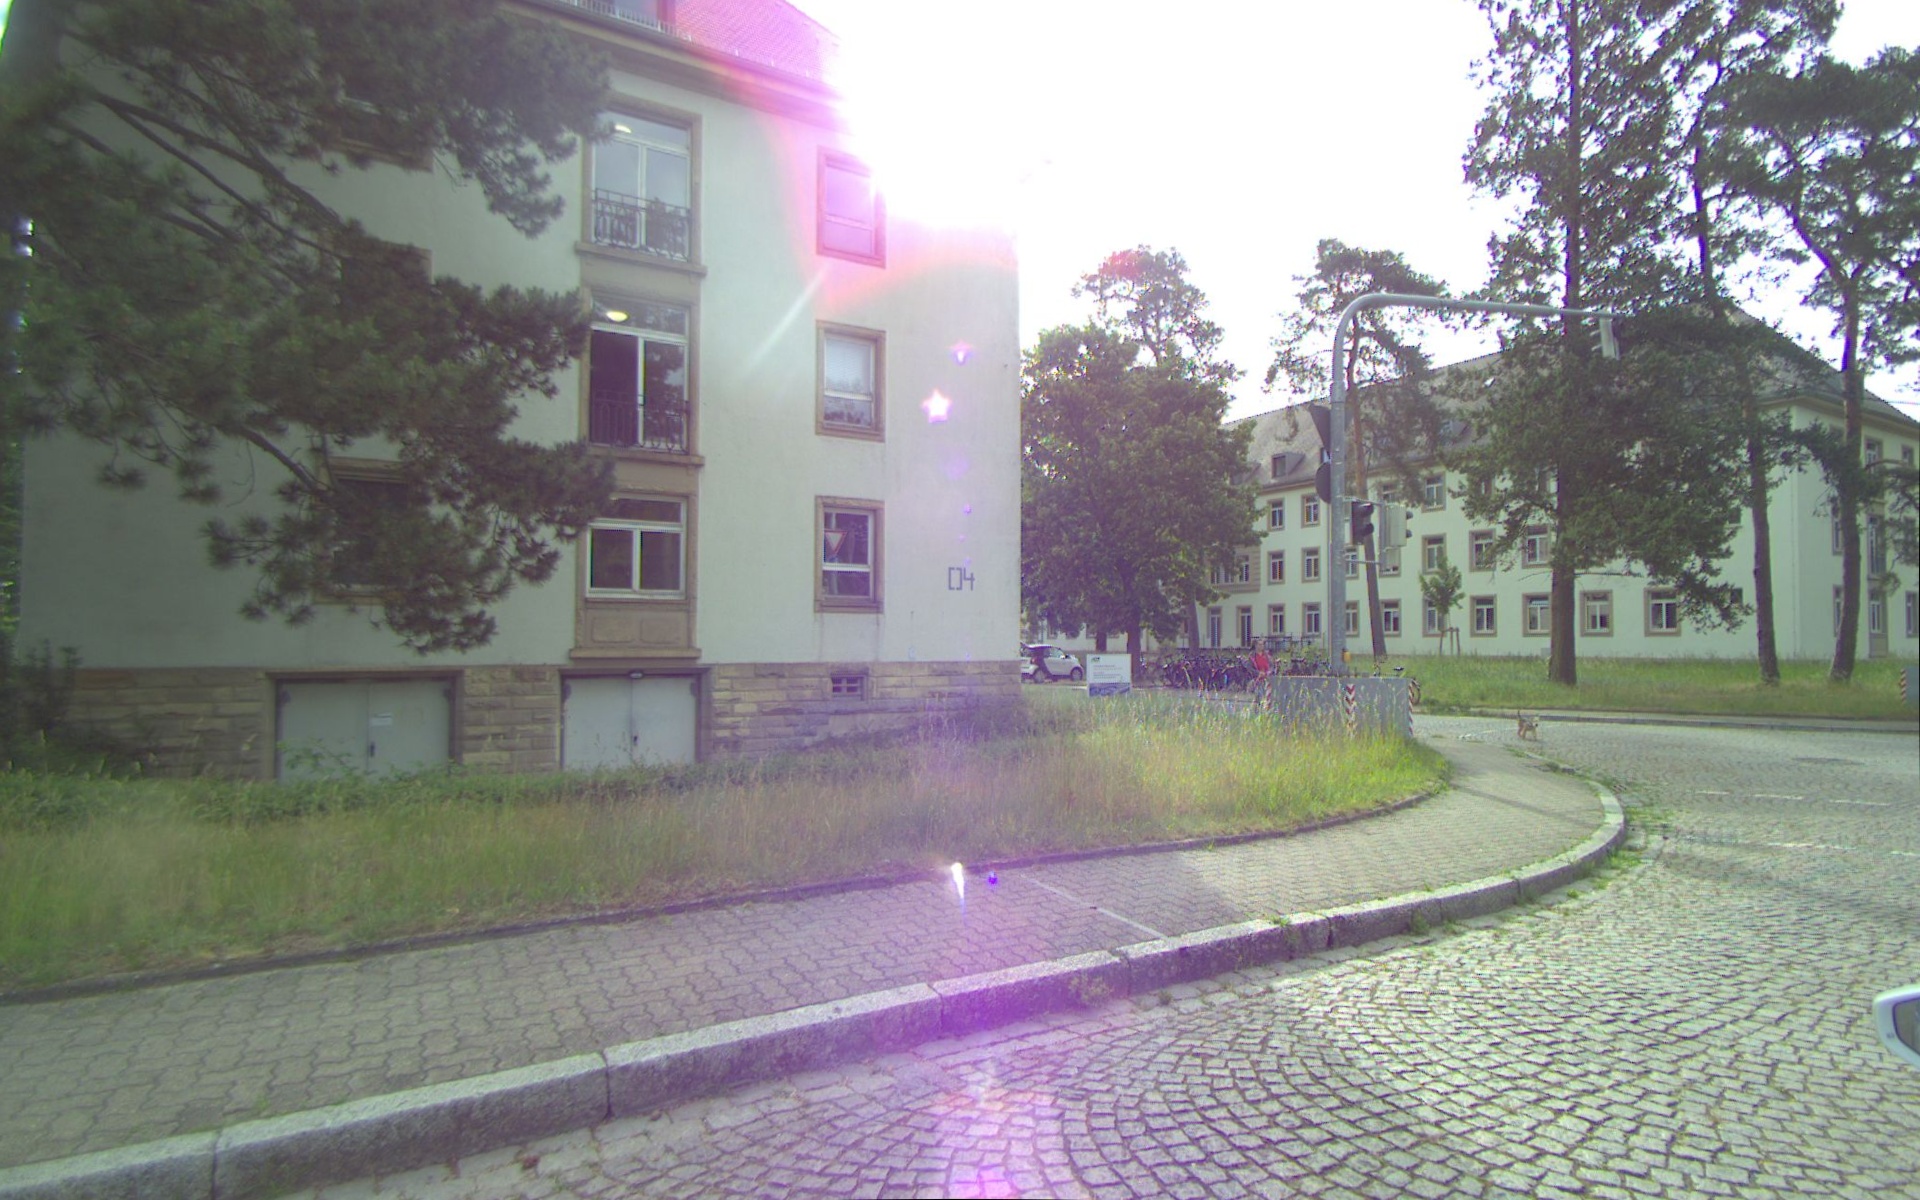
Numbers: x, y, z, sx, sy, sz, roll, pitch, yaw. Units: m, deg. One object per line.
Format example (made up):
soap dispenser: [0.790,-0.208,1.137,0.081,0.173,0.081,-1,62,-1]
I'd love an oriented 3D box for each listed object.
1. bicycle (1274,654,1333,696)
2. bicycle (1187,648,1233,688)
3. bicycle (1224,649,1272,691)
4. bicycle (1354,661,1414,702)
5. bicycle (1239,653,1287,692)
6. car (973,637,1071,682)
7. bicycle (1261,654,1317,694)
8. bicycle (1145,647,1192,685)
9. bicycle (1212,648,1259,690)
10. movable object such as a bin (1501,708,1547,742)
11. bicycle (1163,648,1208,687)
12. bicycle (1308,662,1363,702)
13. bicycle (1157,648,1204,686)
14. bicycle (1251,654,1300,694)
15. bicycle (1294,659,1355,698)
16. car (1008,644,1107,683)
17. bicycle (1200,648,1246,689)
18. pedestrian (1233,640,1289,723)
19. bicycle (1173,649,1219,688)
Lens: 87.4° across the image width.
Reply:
bicycle: [10.279,2.228,30.000,1.932,1.193,0.572,2,-3,-32]
bicycle: [8.316,2.228,33.336,1.677,1.300,0.447,2,-3,-32]
bicycle: [9.191,2.209,32.019,1.677,1.300,0.447,2,-3,-32]
bicycle: [10.983,2.104,26.046,0.447,1.009,1.453,1,-3,-28]
bicycle: [9.453,2.249,31.345,1.677,1.193,0.447,2,-3,-32]
car: [2.801,2.647,45.211,4.087,1.932,1.831,2,-3,-30]
bicycle: [10.012,2.237,30.520,1.909,1.193,0.525,2,-3,-32]
bicycle: [7.306,2.313,35.156,1.807,1.300,0.447,2,-3,-32]
bicycle: [8.906,2.215,32.436,1.677,1.300,0.447,2,-3,-32]
movable object such as a bin: [9.551,2.105,17.024,0.436,0.510,0.753,-1,-2,9]
bicycle: [7.713,2.297,34.313,1.677,1.300,0.447,2,-3,-32]
bicycle: [10.208,2.219,27.355,0.447,1.009,1.453,1,-3,-28]
bicycle: [7.647,2.312,34.823,1.765,1.300,0.440,2,-3,-32]
bicycle: [9.711,2.255,30.934,1.677,1.193,0.447,2,-3,-32]
bicycle: [10.686,2.286,29.434,1.974,1.092,0.572,2,-3,-32]
car: [4.128,2.660,42.558,3.851,1.576,1.831,2,-3,-30]
bicycle: [8.614,2.221,32.860,1.677,1.300,0.447,2,-3,-32]
pedestrian: [6.270,1.678,20.948,0.921,1.690,0.863,0,-2,2]
bicycle: [7.964,2.291,33.897,1.677,1.300,0.447,2,-3,-32]
